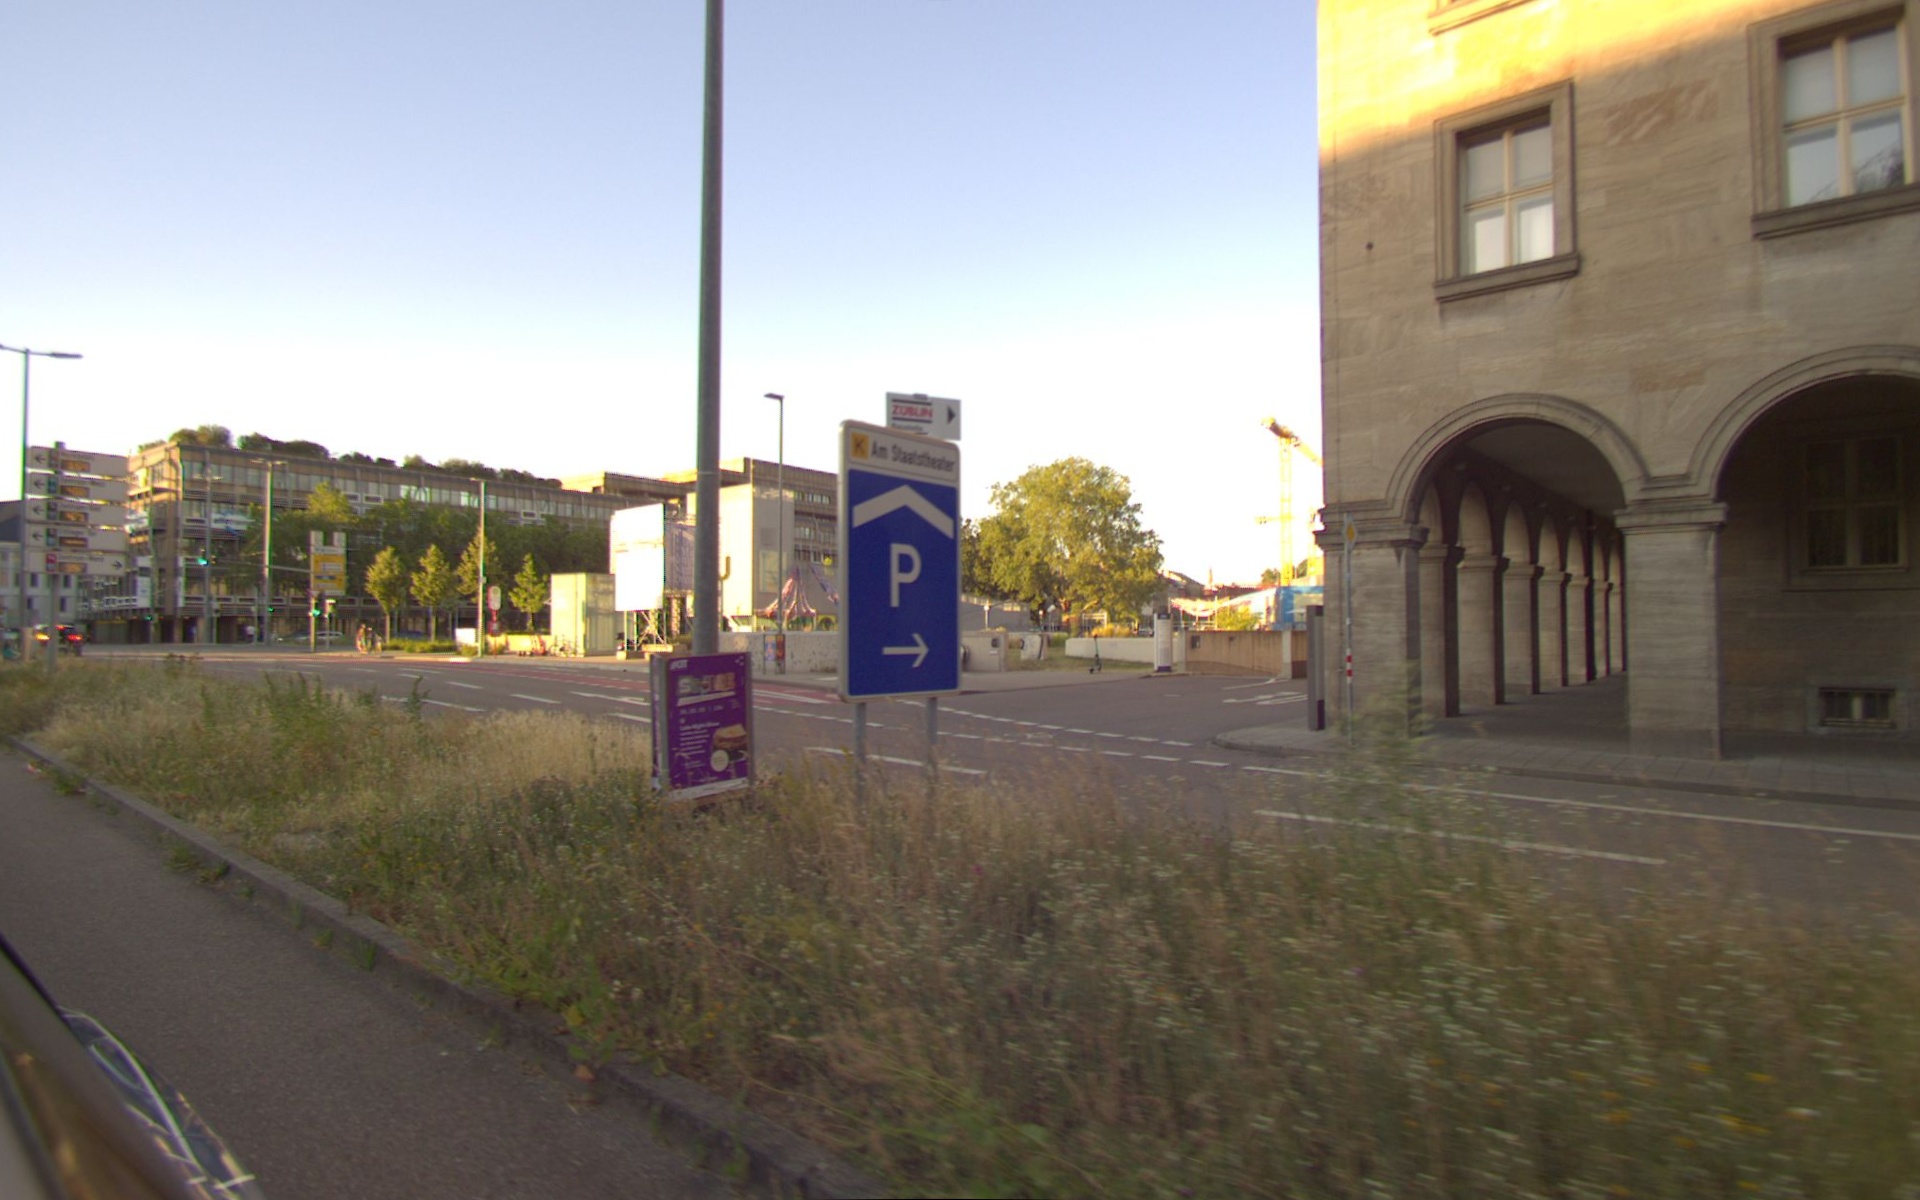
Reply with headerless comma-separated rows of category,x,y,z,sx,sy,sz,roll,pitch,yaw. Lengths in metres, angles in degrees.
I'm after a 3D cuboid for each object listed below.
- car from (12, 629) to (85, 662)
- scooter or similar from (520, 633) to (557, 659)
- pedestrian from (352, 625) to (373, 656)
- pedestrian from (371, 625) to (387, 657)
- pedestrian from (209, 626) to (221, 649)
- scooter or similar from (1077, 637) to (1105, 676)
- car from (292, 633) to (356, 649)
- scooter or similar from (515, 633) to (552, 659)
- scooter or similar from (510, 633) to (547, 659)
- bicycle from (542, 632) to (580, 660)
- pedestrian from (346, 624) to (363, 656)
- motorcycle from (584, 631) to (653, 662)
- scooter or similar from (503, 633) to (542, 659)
car,-42.224,2.071,46.871,4.533,1.477,1.867,-2,-2,40
scooter or similar,-21.614,2.364,51.898,0.422,1.315,1.820,-1,-2,34
pedestrian,-35.977,2.428,60.940,0.775,1.851,0.862,-2,-3,42
pedestrian,-35.395,2.500,61.675,0.647,1.948,0.652,-3,-3,42
pedestrian,-63.324,3.148,86.034,0.680,1.946,0.636,-1,-3,38
scooter or similar,4.254,1.809,32.770,0.543,1.233,1.555,0,-2,21
car,-63.356,4.091,100.873,1.998,1.597,5.094,-2,-3,40
scooter or similar,-21.971,2.377,52.158,0.422,1.315,1.815,-1,-2,34
scooter or similar,-22.357,2.390,52.450,0.416,1.315,1.772,-1,-2,34
bicycle,-19.993,2.297,50.721,2.507,1.334,0.611,-1,-2,39
pedestrian,-36.765,2.431,61.429,0.774,1.948,0.625,-1,-2,37
motorcycle,-16.409,2.203,48.665,0.839,1.393,3.201,-1,-1,38
scooter or similar,-22.785,2.391,52.726,0.499,1.315,1.842,-1,-2,34
